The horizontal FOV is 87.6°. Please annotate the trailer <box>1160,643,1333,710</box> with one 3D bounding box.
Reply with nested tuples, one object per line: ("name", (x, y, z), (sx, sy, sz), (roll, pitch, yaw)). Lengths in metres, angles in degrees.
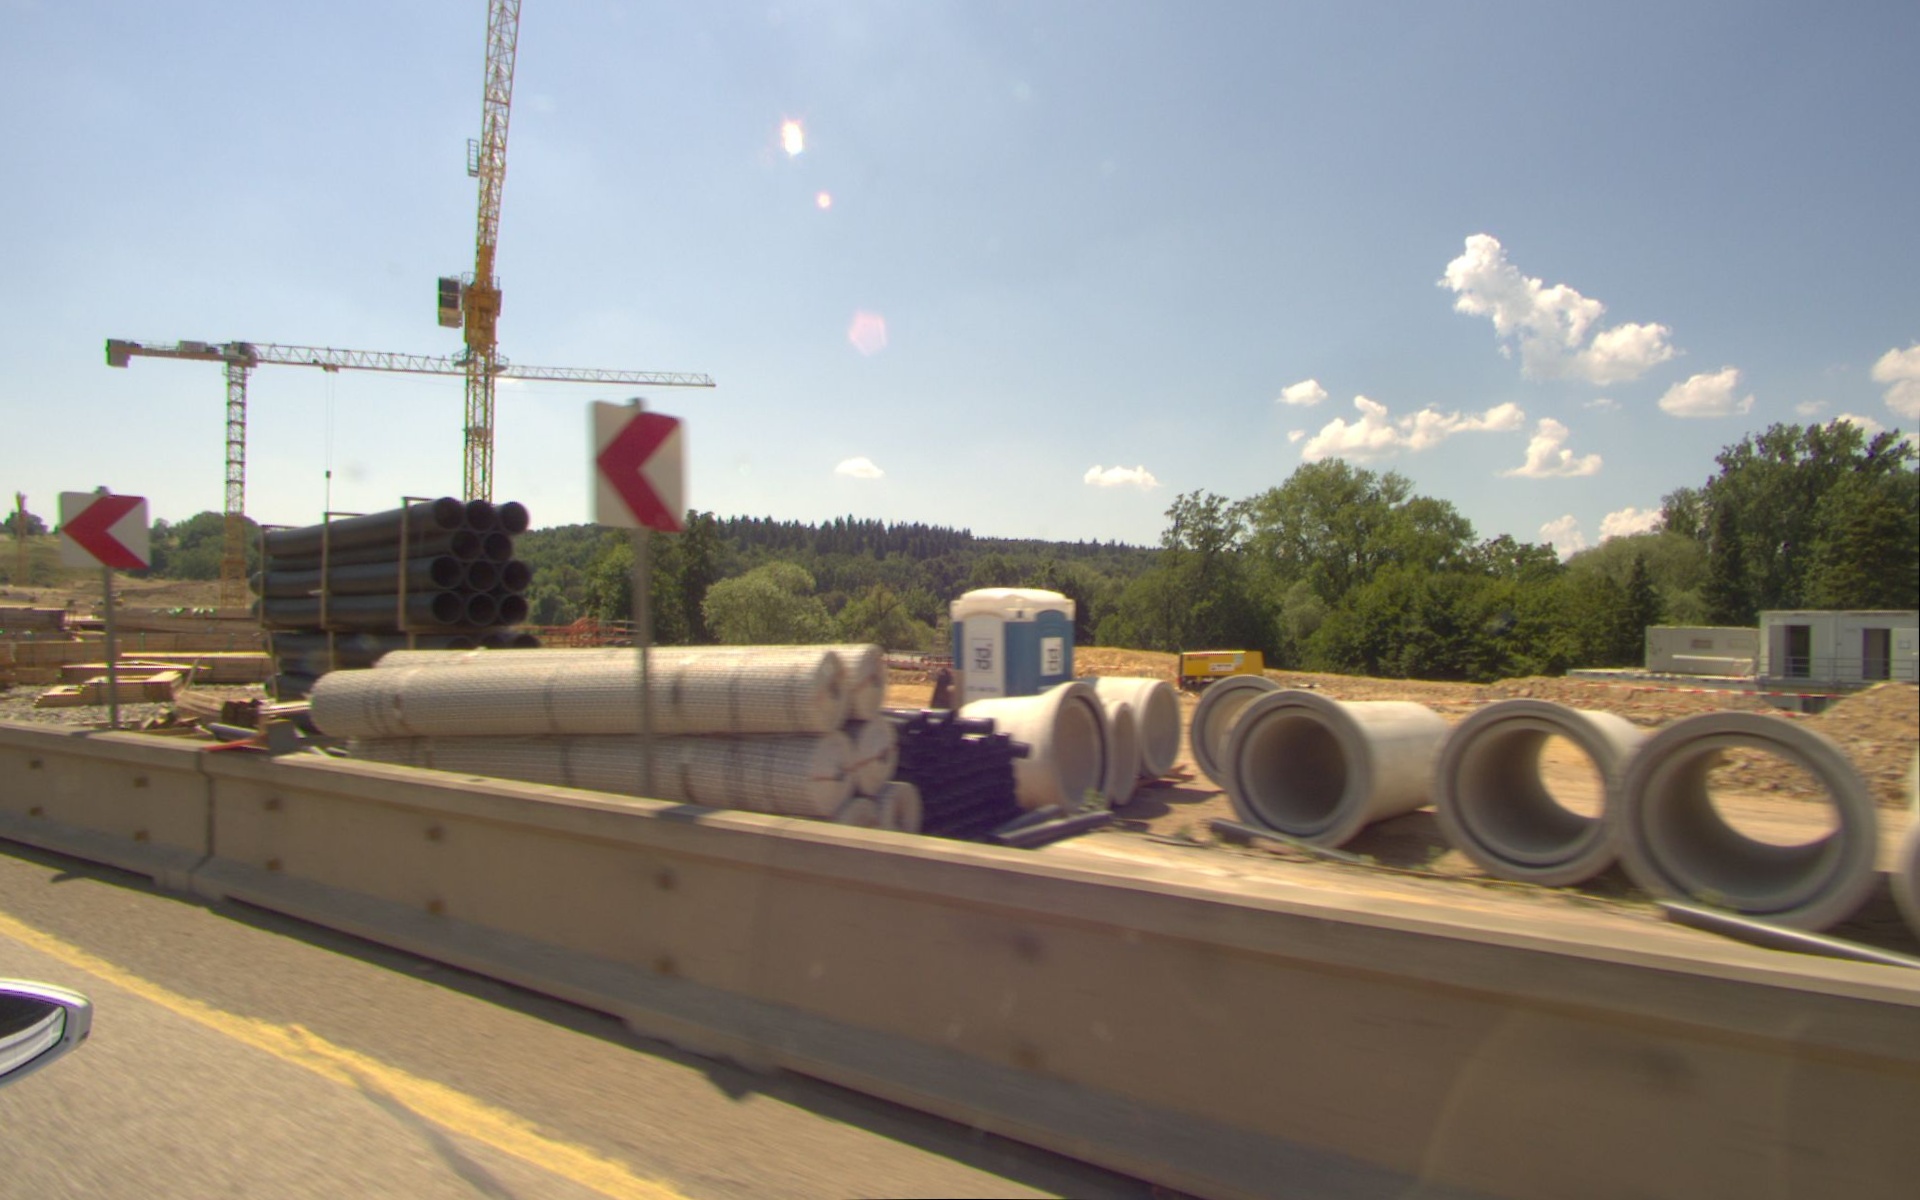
("trailer", (6.988, 1.825, 24.616), (3.781, 1.504, 1.617), (-2, -3, 40))
